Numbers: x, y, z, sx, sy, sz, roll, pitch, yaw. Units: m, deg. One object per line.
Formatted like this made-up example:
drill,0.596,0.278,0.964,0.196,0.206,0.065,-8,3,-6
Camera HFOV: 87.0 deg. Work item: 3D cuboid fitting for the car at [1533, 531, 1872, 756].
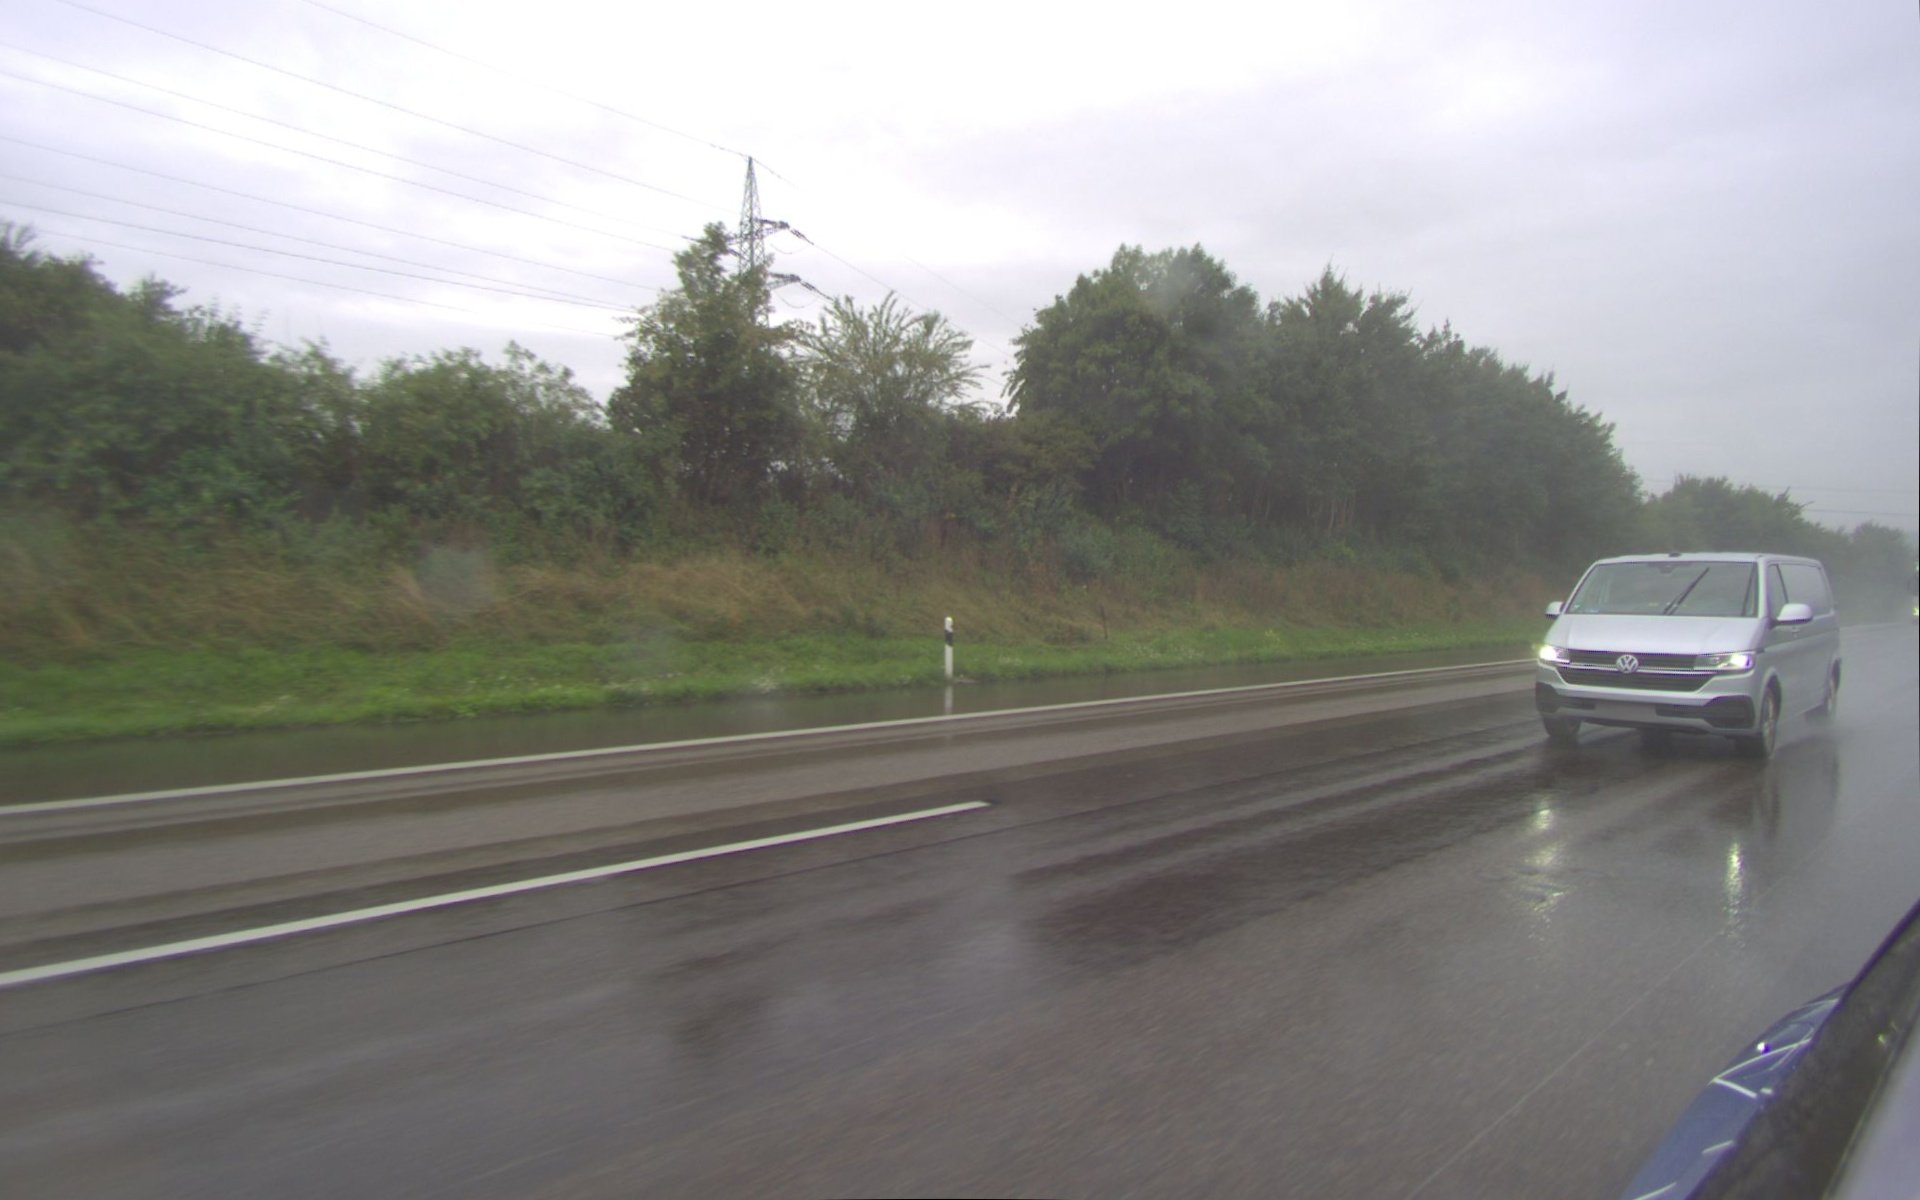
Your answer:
car,8.154,0.350,10.910,4.921,1.907,1.891,0,1,-41
